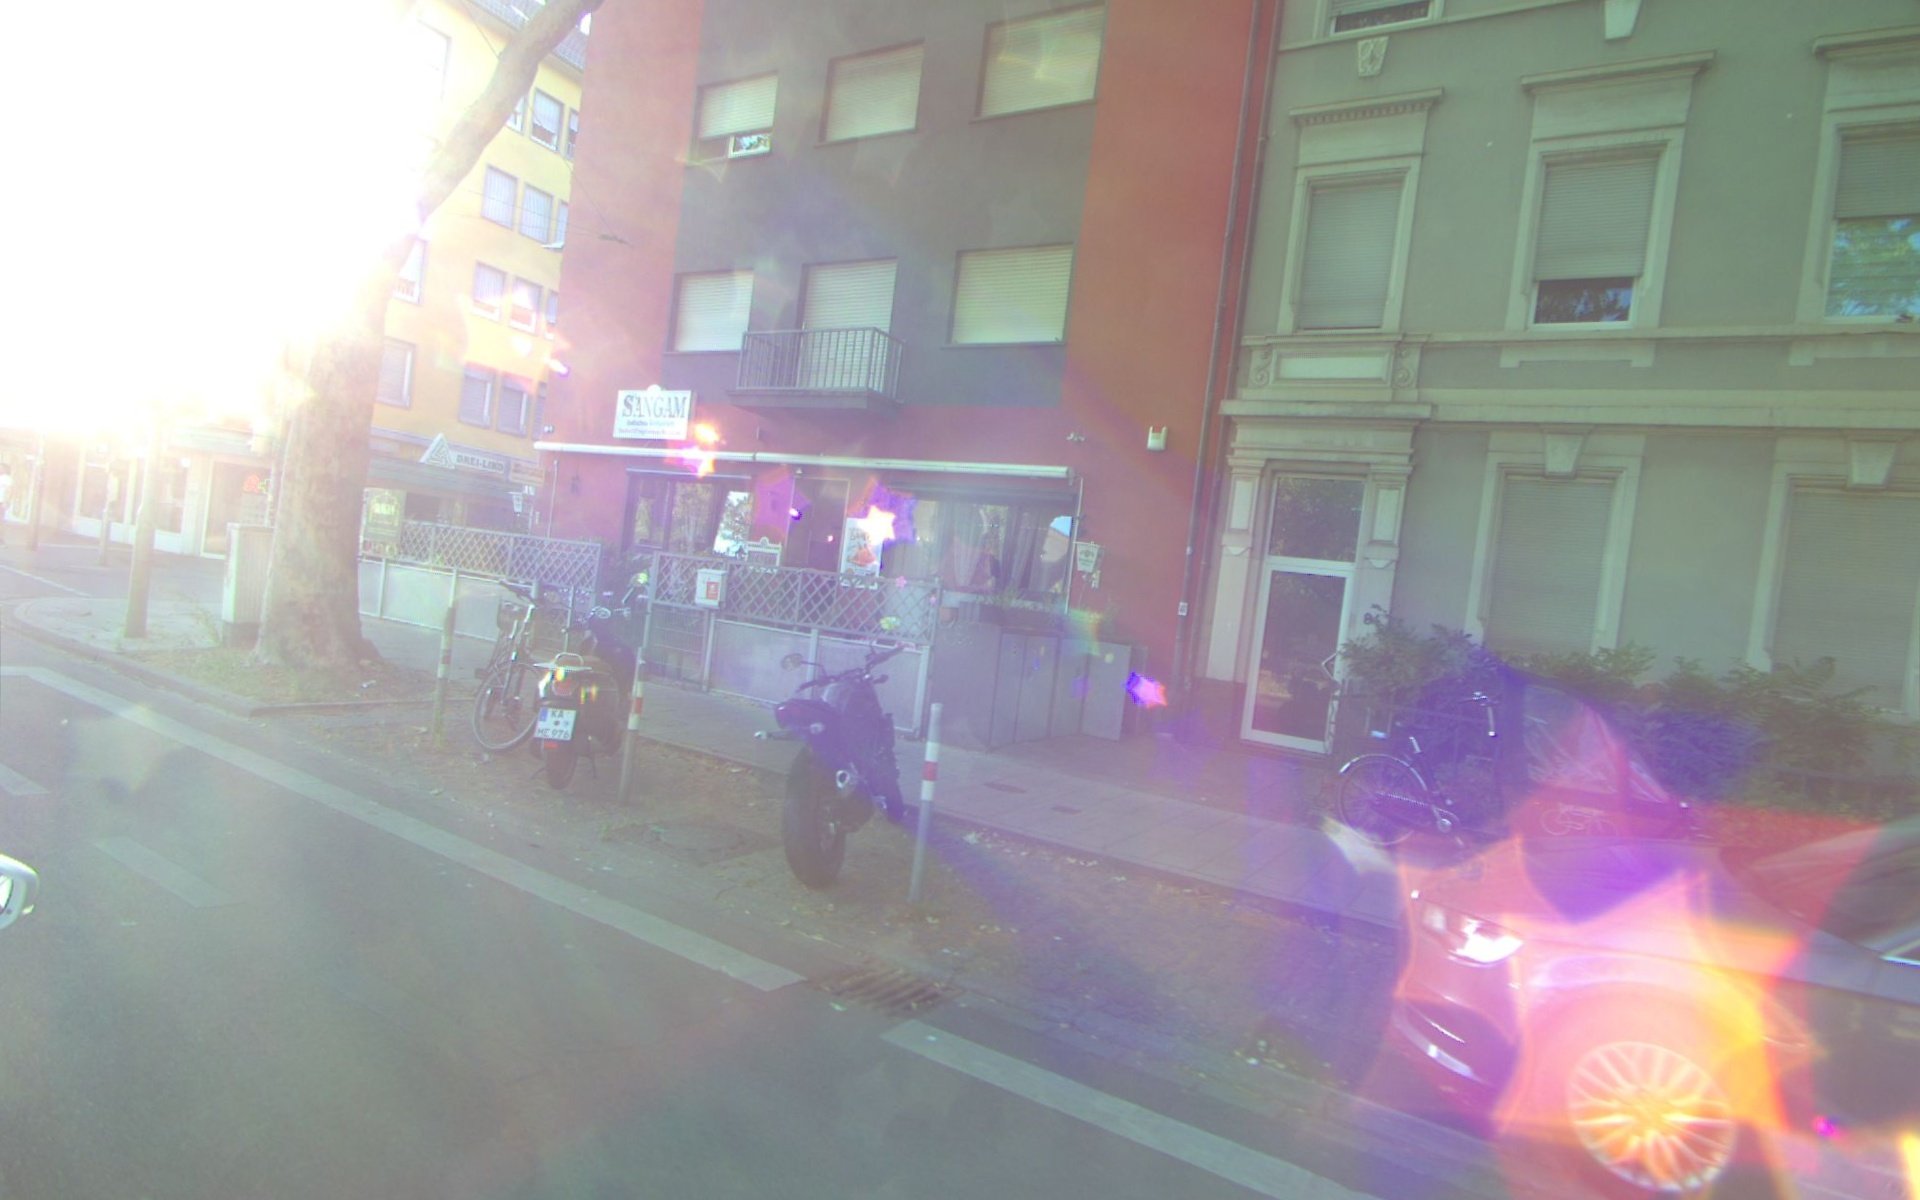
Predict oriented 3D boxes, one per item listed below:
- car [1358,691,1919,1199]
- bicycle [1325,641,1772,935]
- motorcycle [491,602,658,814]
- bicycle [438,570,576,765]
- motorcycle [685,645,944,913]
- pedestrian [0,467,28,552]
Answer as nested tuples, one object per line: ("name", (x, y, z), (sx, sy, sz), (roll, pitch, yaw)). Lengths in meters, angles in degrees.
("car", (3.690, 1.315, 3.066), (4.250, 1.414, 1.712), (7, 0, 32))
("bicycle", (3.827, 1.159, 6.771), (2.357, 1.443, 0.608), (7, -1, 32))
("motorcycle", (-2.576, 0.650, 6.943), (0.591, 1.166, 1.994), (7, 0, -10))
("bicycle", (-3.521, 0.468, 7.972), (0.686, 1.219, 1.837), (8, 2, -19))
("motorcycle", (-0.723, 0.902, 5.901), (0.752, 1.077, 2.212), (7, 2, 9))
("pedestrian", (-20.990, -1.993, 21.947), (0.676, 1.792, 0.680), (7, 1, 32))
